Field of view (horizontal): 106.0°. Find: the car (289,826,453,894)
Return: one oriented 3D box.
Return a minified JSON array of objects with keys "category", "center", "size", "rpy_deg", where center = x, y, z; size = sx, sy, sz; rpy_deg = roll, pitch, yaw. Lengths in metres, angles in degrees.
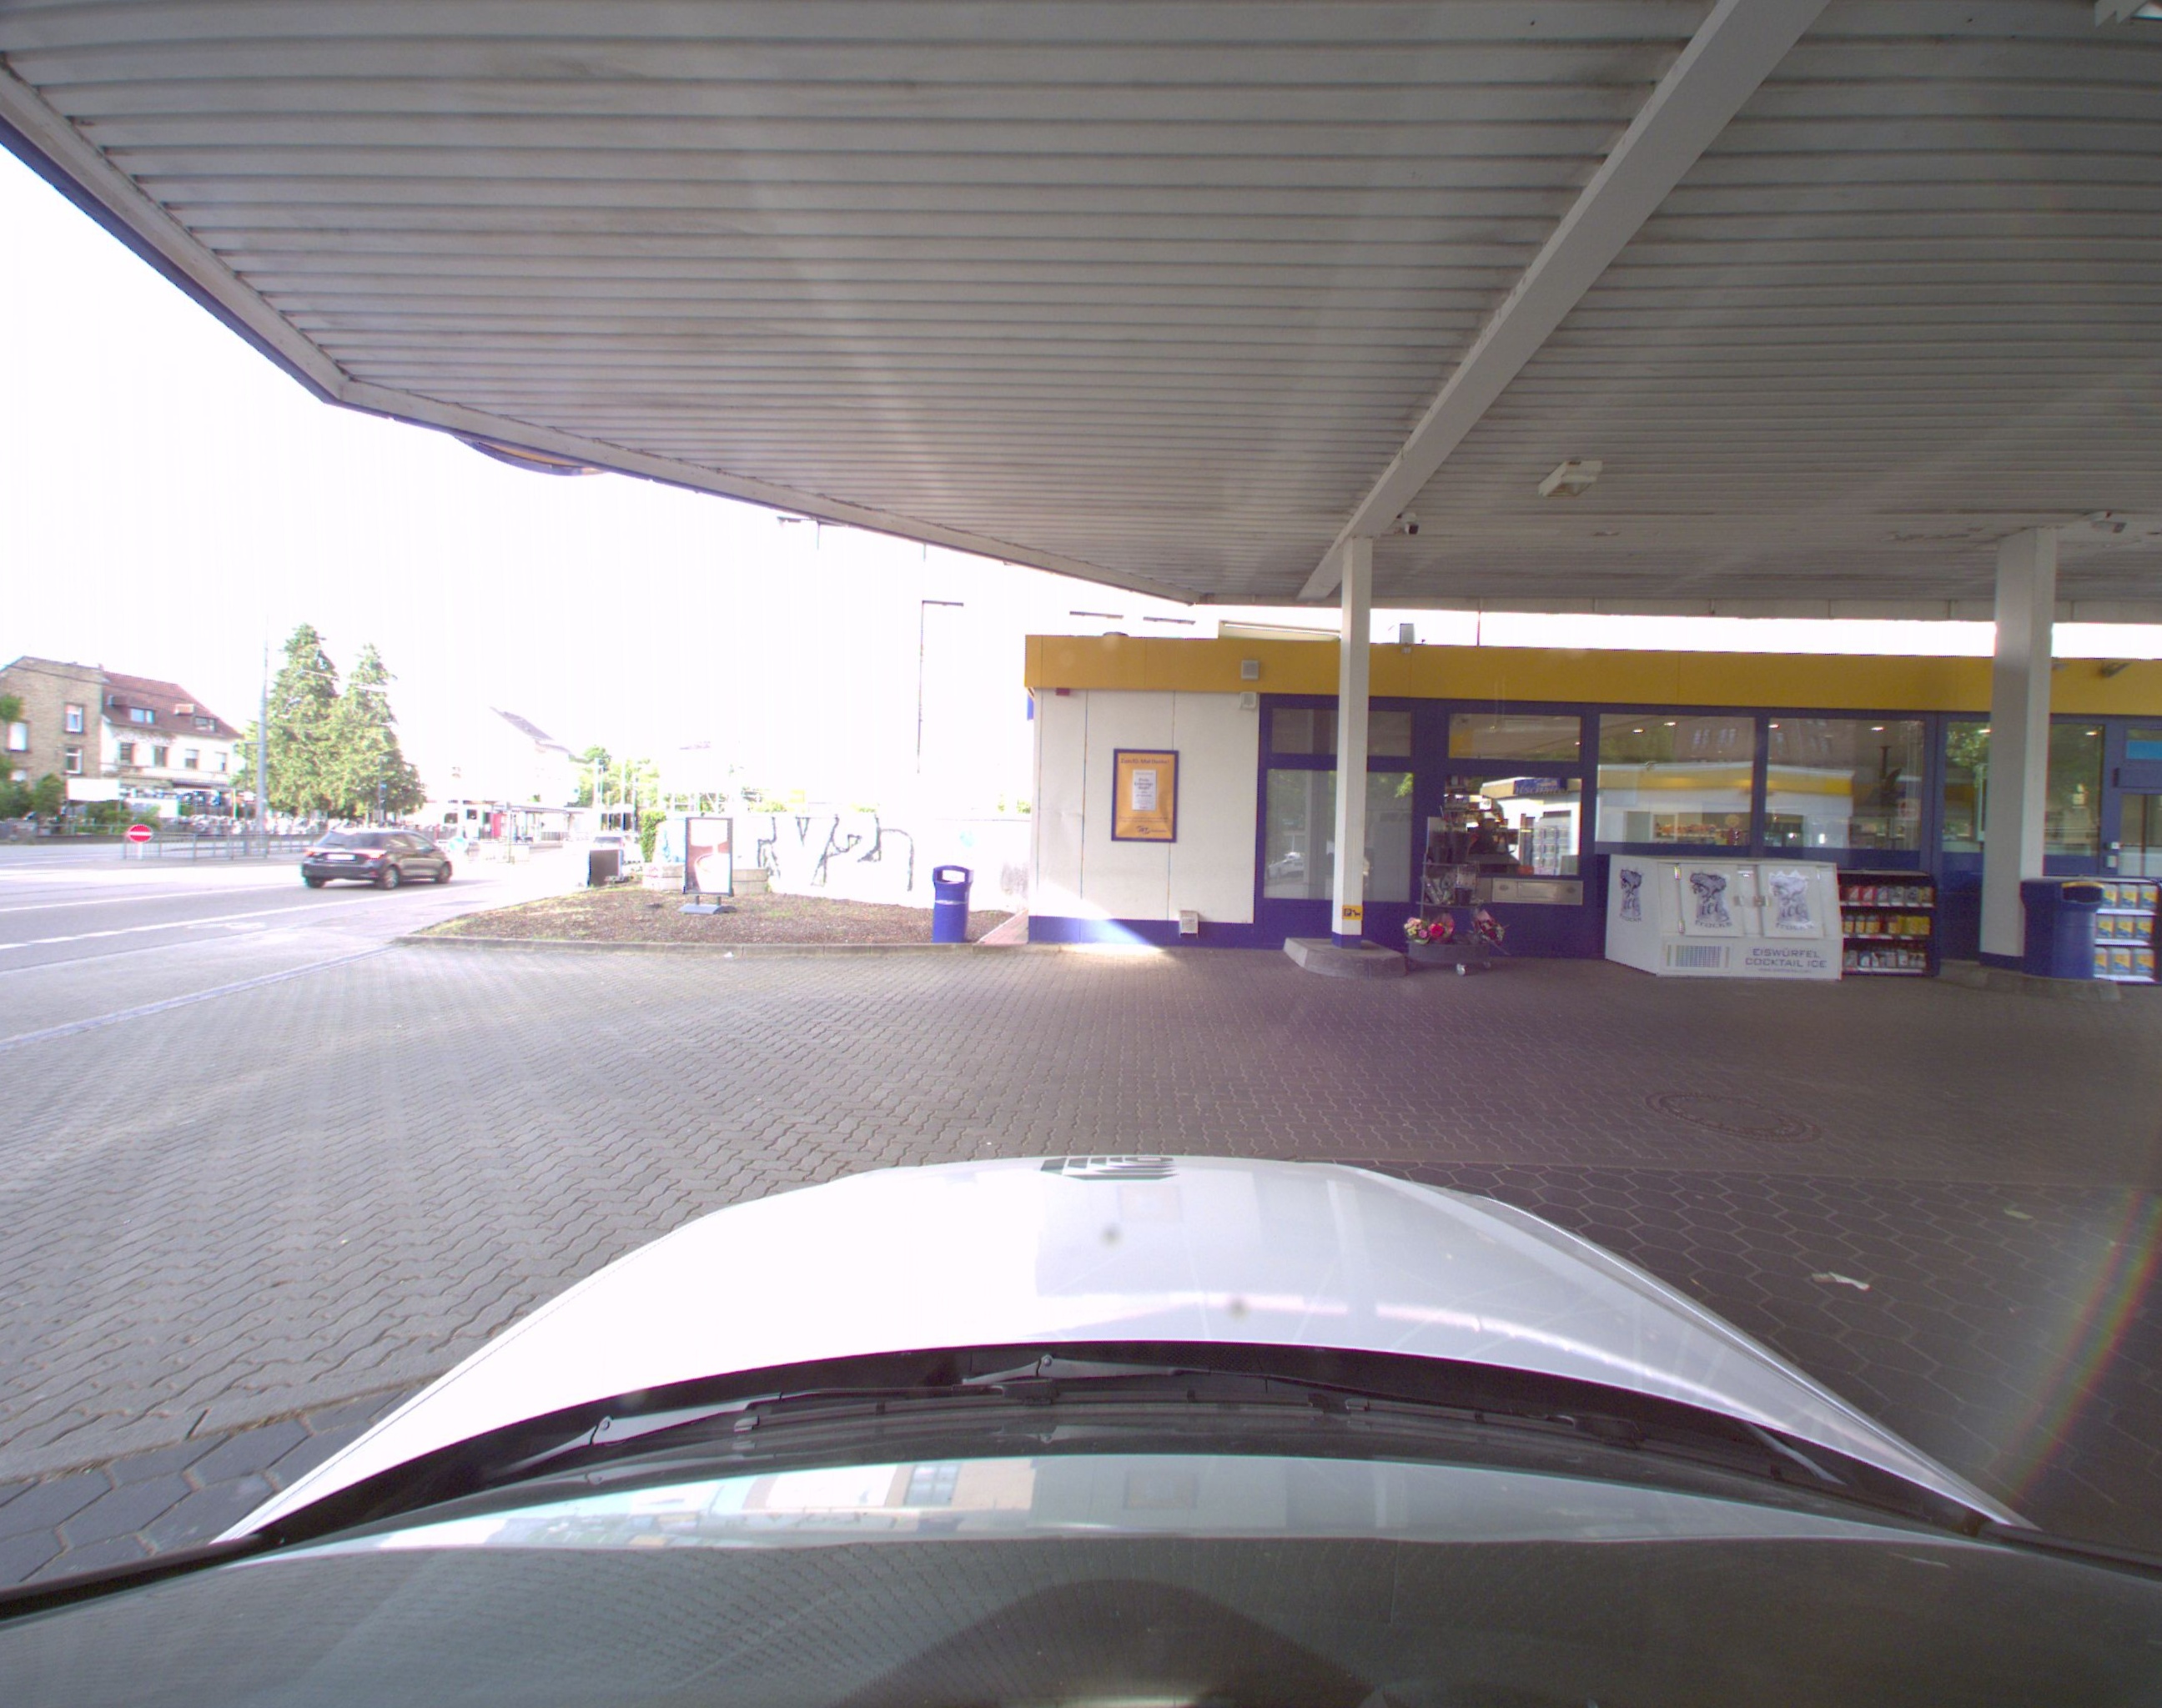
[{"category":"car","center":[-18.248,0.106,21.160],"size":[1.670,1.547,3.692],"rpy_deg":[2,1,-15]}]

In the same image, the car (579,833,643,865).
[{"category":"car","center":[-22.290,-0.257,38.781],"size":[1.670,1.400,3.692],"rpy_deg":[2,1,-15]}]
